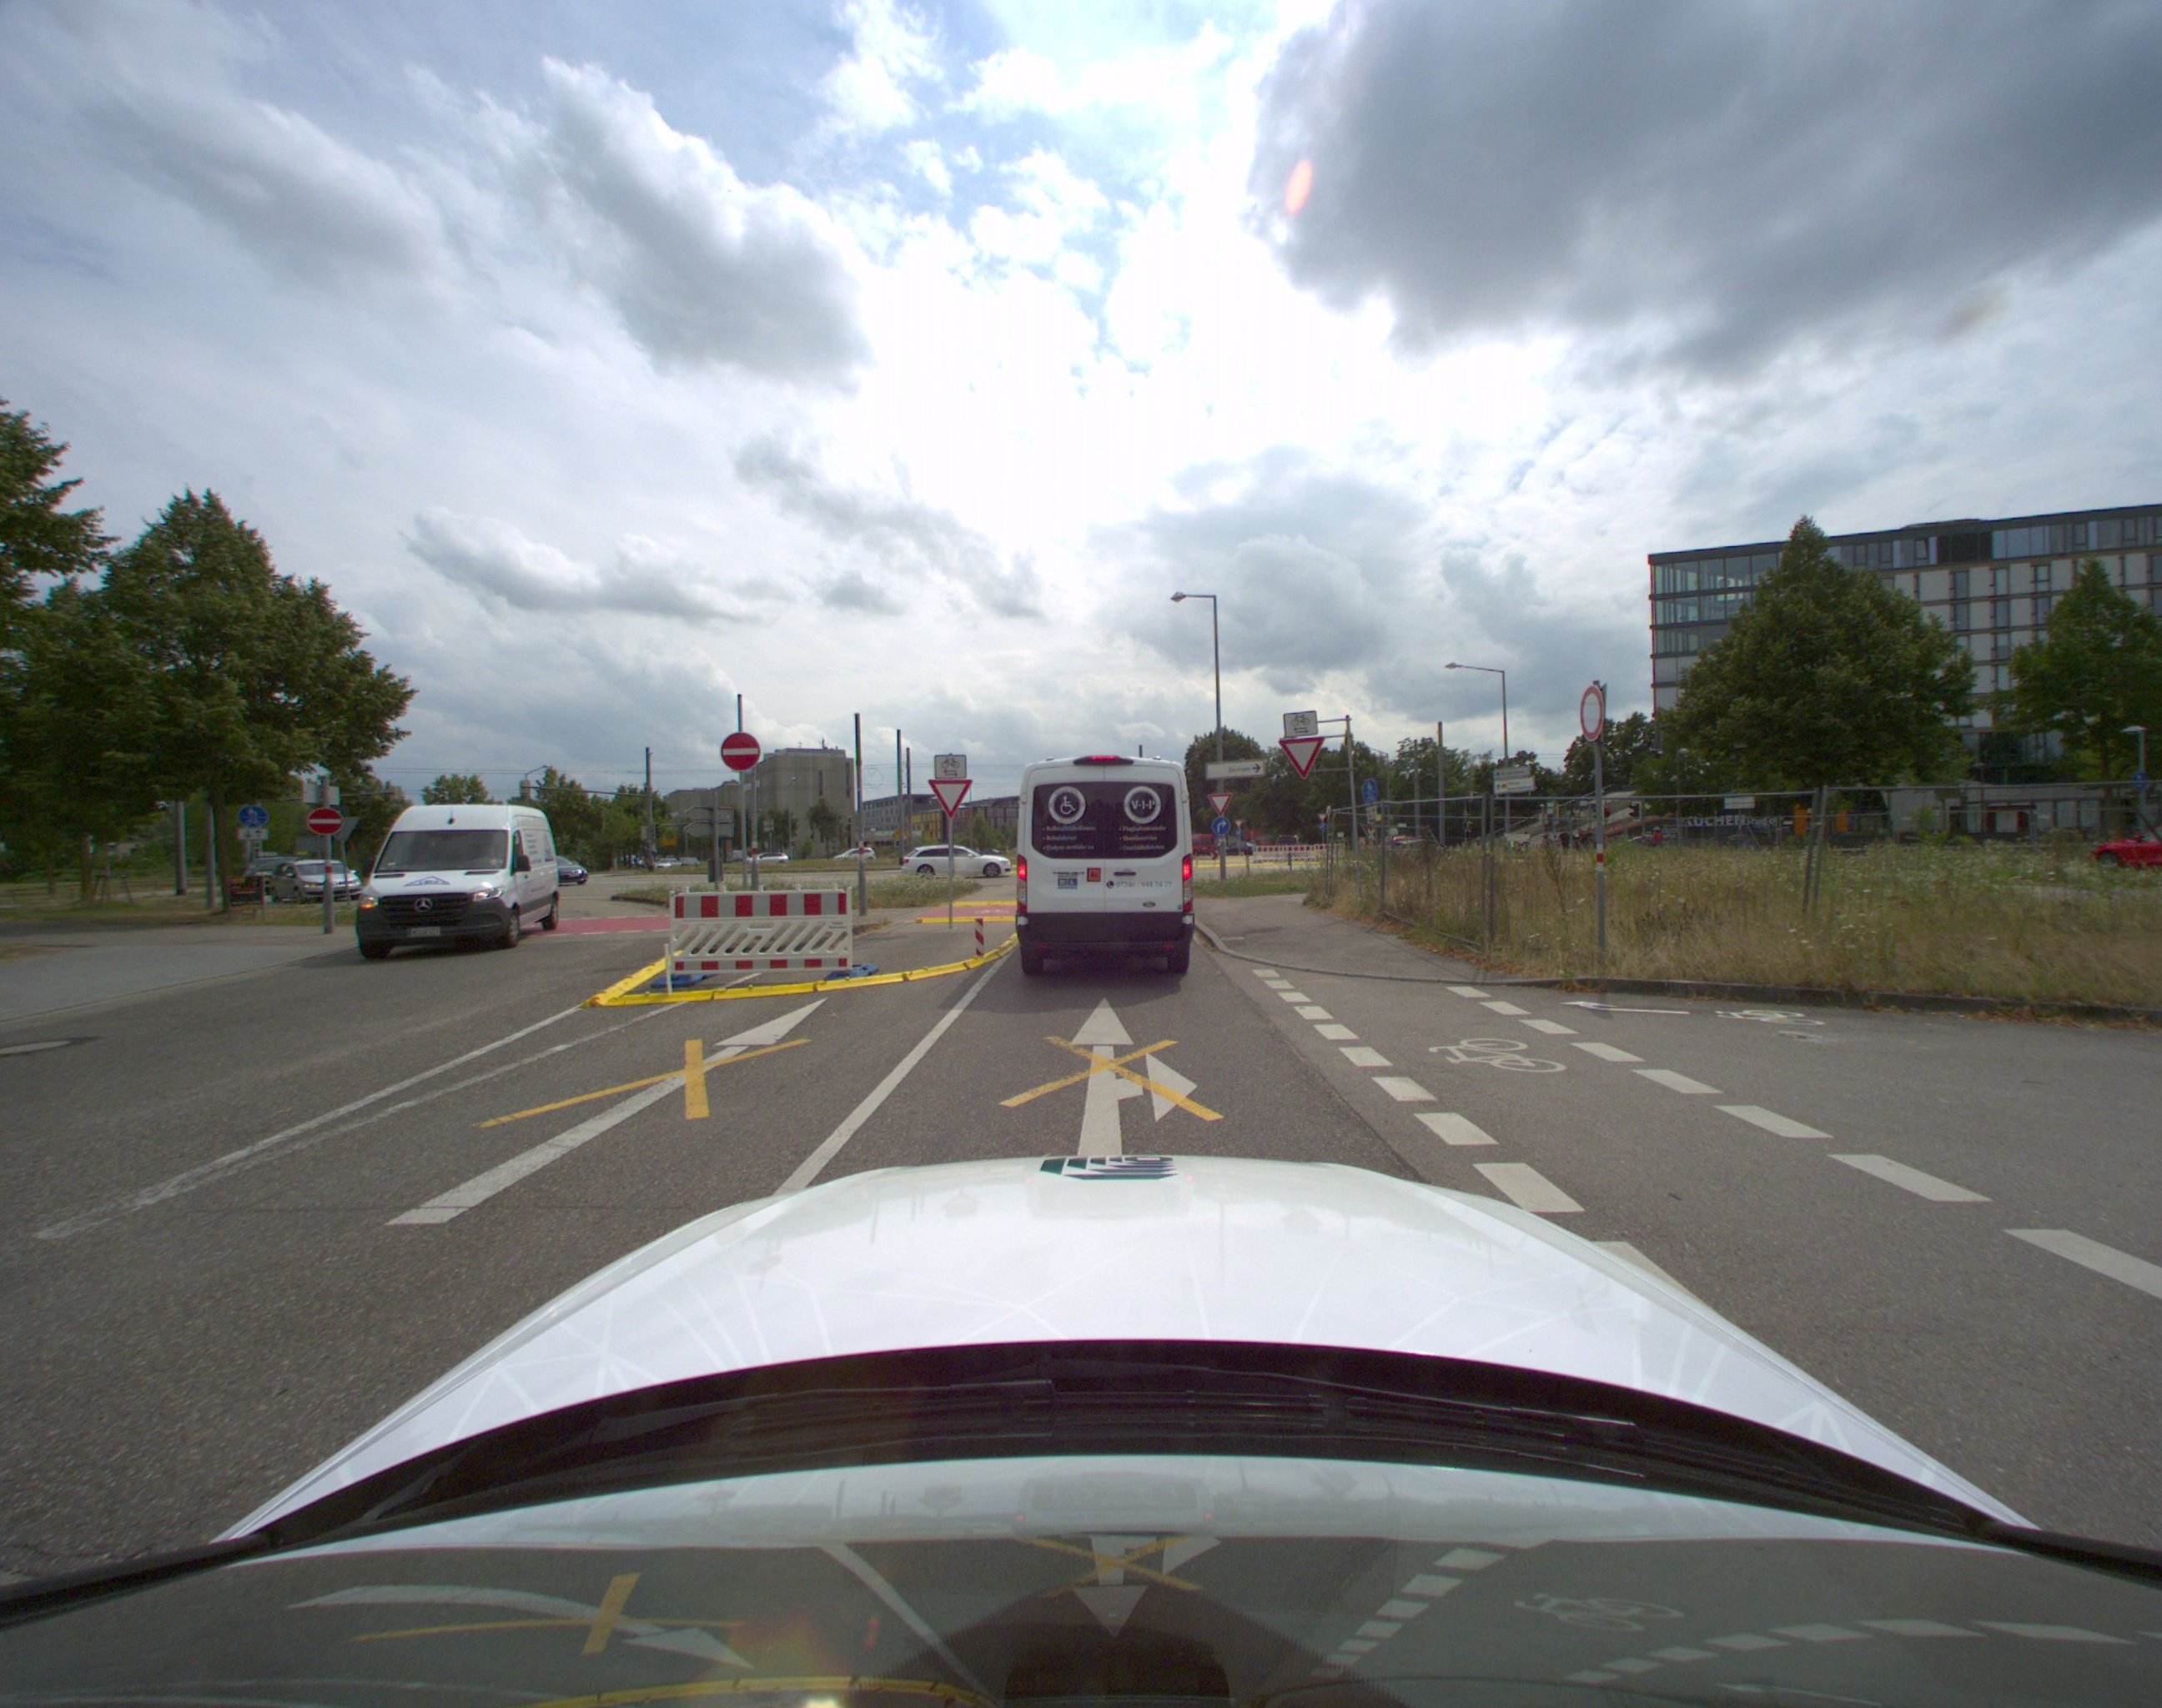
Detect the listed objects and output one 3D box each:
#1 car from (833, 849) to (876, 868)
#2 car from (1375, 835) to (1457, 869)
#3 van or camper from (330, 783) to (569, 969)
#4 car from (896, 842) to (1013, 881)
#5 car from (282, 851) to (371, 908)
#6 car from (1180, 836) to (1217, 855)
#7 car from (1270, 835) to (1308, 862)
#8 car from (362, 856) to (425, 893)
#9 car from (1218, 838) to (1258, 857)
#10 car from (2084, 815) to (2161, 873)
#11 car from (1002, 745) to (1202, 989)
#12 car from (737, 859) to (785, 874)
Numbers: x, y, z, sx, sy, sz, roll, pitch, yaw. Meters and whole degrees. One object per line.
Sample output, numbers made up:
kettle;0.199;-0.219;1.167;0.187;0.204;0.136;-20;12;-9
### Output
car;-24.102;0.504;86.851;4.016;1.771;1.749;-4;1;-34
car;19.010;-0.122;46.234;3.996;1.661;1.881;-3;1;-16
van or camper;-11.416;0.297;15.352;2.161;2.725;6.224;-3;1;-26
car;-5.629;0.299;36.663;5.022;1.578;1.861;-1;1;-7
car;-30.094;0.978;32.601;2.009;2.013;3.956;-4;1;-35
car;12.636;-0.915;87.646;2.014;1.816;4.382;-4;1;-20
car;14.503;-0.431;56.697;1.868;1.661;4.023;-3;1;23
car;-36.882;1.090;43.796;1.773;1.771;3.962;-4;1;-30
car;14.381;-0.594;74.703;1.890;1.661;3.976;-3;1;-18
car;29.667;-0.288;21.360;1.777;1.562;4.454;-1;0;11
car;0.327;0.101;10.639;2.054;2.539;4.004;-2;1;3
car;-31.499;1.207;80.280;4.021;1.192;1.666;-4;1;-39
